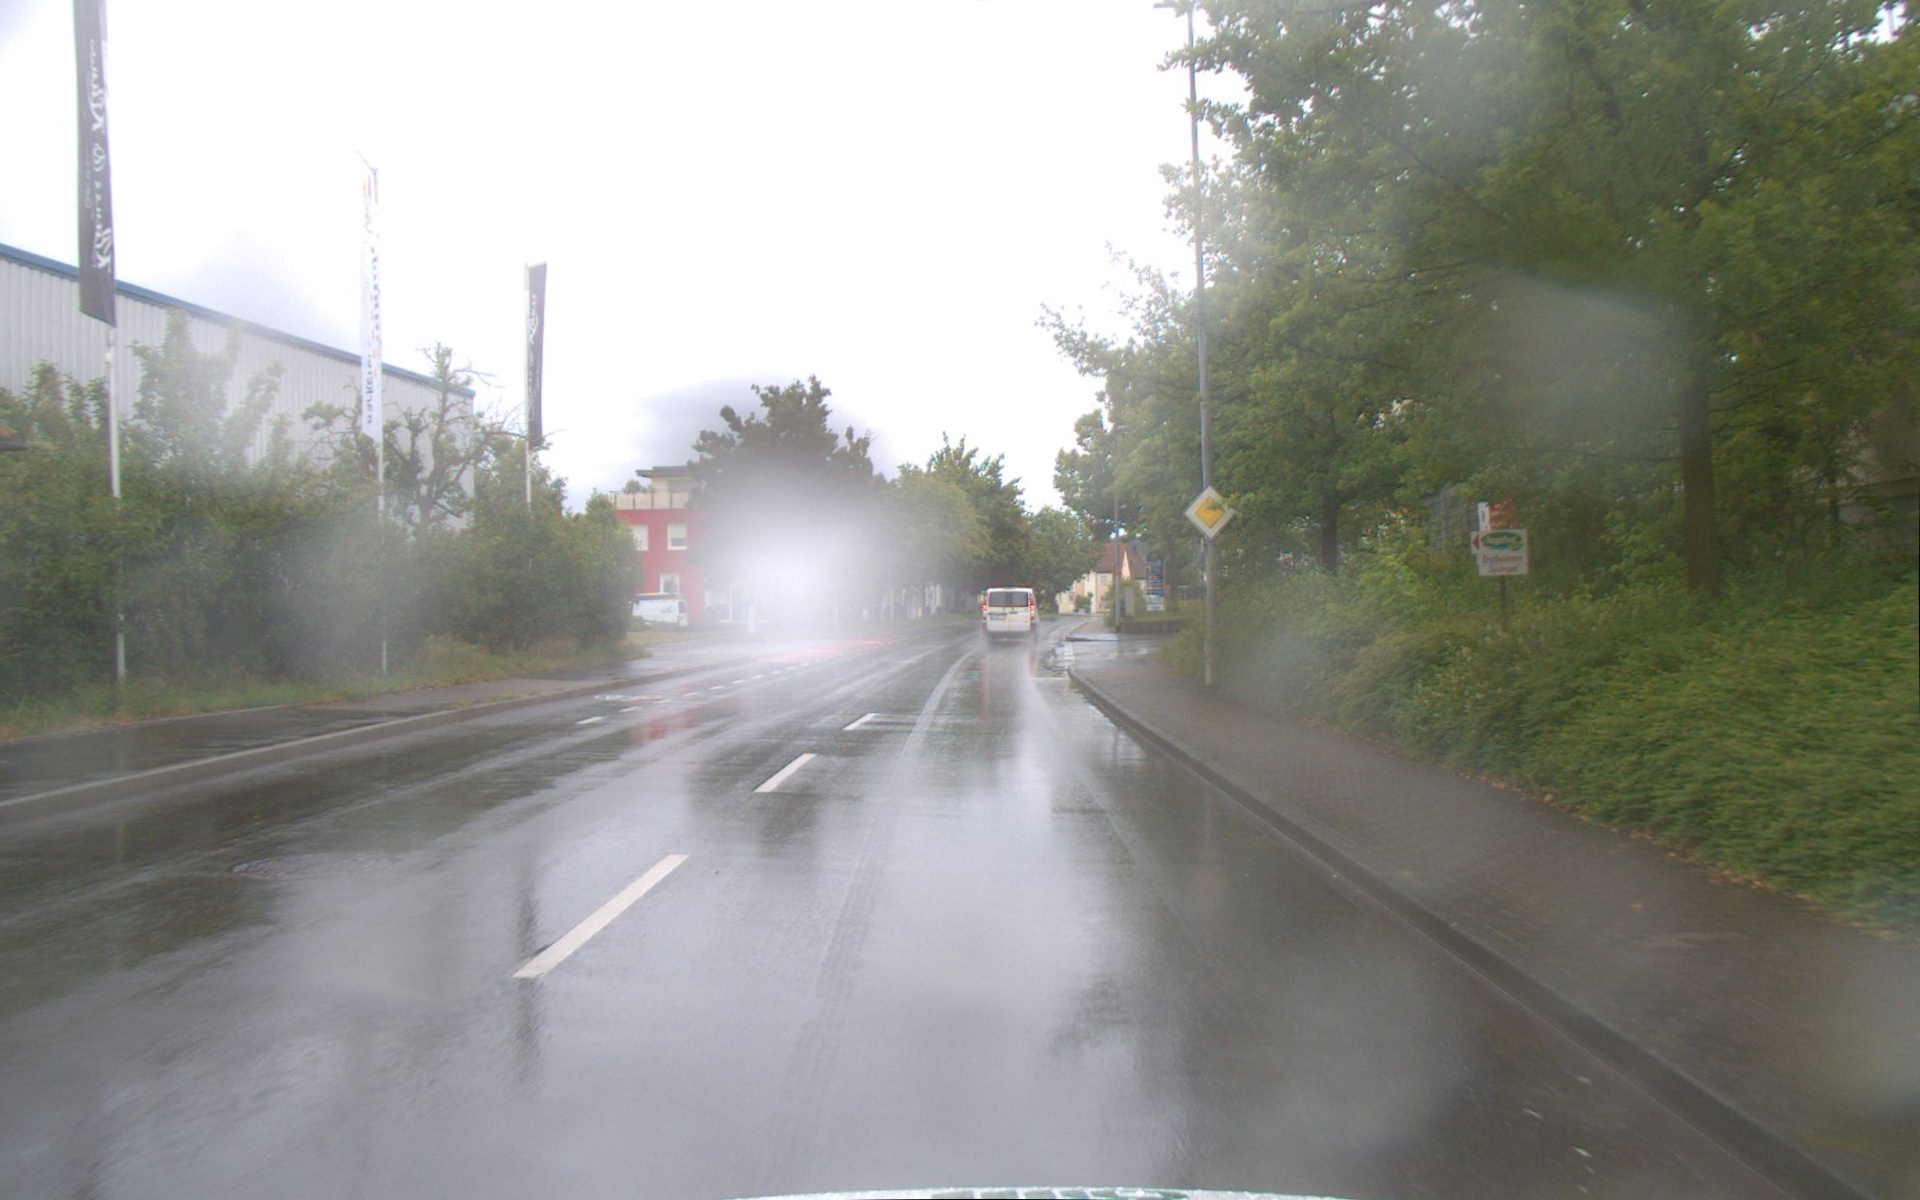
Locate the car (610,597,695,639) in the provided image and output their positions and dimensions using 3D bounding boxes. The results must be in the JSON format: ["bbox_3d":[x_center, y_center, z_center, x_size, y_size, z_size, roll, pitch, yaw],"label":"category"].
[{"bbox_3d":[-17.940,1.044,96.694,4.381,2.351,2.186,0,0,9],"label":"car"}]

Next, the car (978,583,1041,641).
[{"bbox_3d":[1.663,0.379,57.003,2.073,1.921,4.502,0,1,1],"label":"car"}]
